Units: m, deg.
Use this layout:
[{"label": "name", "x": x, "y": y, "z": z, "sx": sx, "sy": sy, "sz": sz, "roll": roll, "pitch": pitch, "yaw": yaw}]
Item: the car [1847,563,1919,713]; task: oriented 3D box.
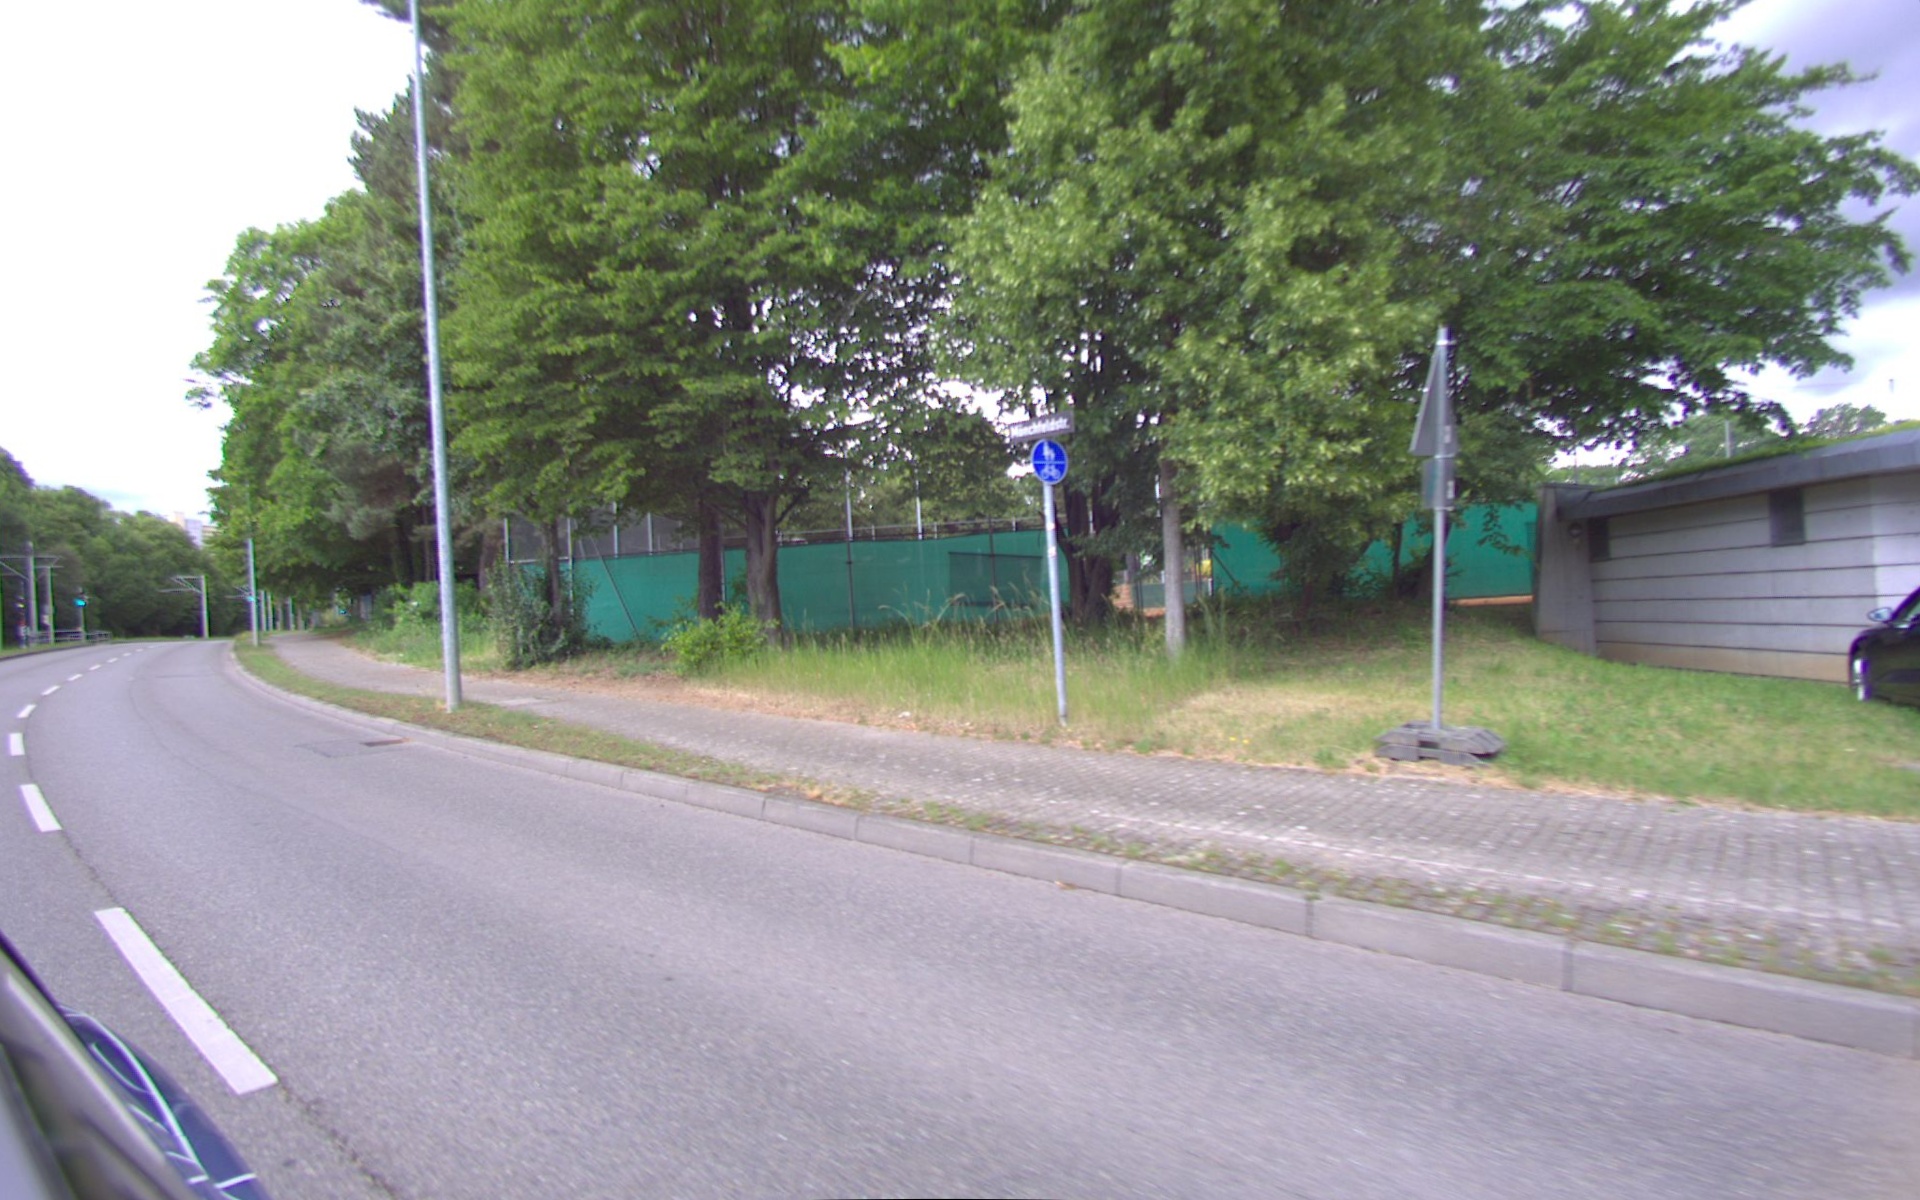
[{"label": "car", "x": 9.329, "y": 0.348, "z": 8.663, "sx": 1.709, "sy": 1.336, "sz": 3.962, "roll": 1, "pitch": 2, "yaw": 28}]
